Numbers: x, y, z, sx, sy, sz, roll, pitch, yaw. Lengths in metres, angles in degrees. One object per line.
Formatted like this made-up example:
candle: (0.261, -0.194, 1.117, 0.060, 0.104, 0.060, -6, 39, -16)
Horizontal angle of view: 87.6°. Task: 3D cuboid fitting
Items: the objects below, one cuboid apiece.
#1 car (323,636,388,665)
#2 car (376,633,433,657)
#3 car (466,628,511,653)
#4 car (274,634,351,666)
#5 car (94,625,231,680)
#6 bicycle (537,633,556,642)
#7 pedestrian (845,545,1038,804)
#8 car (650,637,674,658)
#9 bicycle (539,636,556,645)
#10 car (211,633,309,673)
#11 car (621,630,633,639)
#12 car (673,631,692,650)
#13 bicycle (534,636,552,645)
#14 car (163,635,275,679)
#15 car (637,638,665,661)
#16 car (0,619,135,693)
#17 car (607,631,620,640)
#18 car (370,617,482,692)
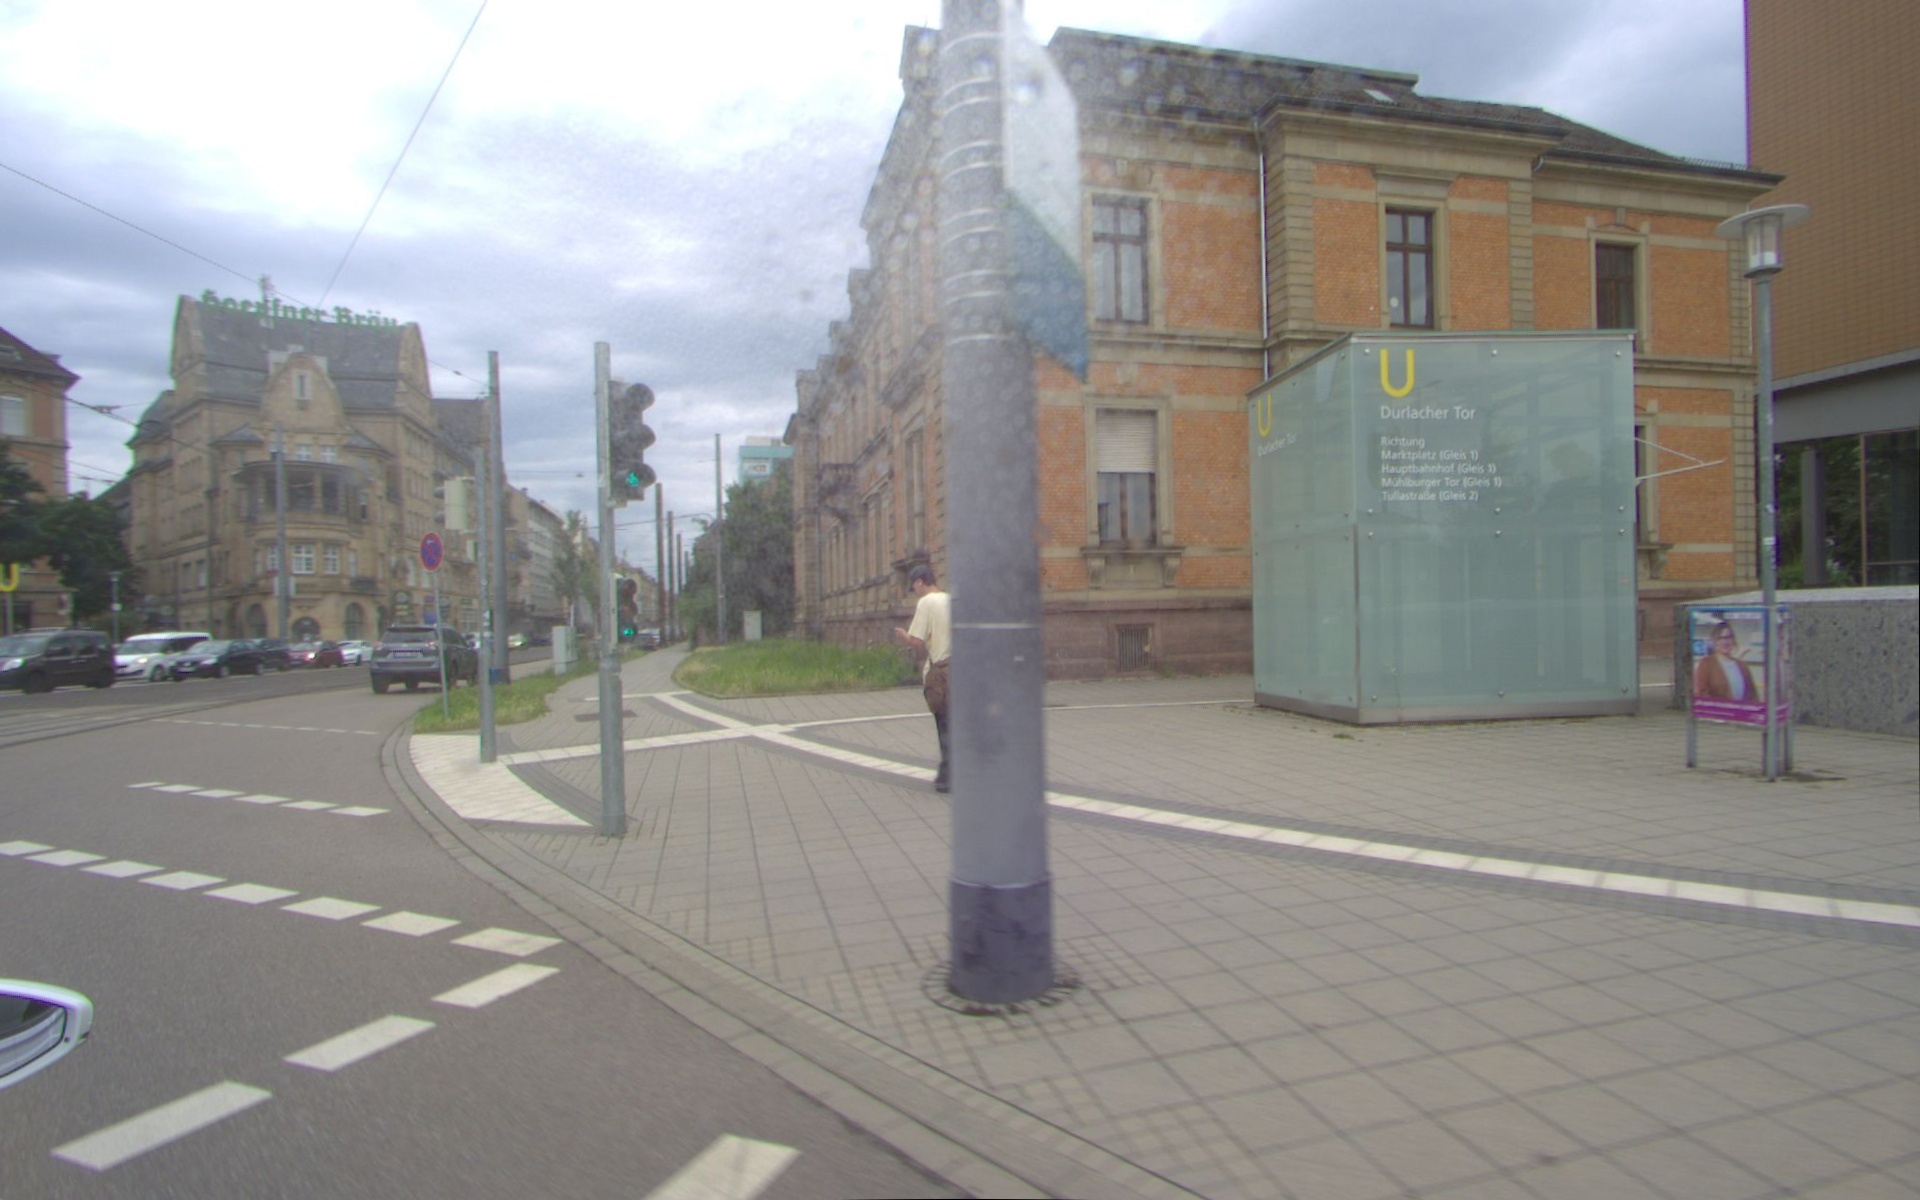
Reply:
car: (-33.561, 2.751, 55.711, 1.720, 1.397, 4.359, -4, -1, -13)
car: (-34.939, 2.795, 63.129, 1.896, 1.397, 4.256, -1, -1, -11)
car: (-34.299, 2.913, 72.995, 1.834, 1.728, 4.905, -2, -1, -12)
car: (-32.471, 2.471, 50.313, 1.834, 1.417, 3.893, -3, -1, -10)
car: (-30.636, 1.969, 38.679, 1.833, 1.941, 5.099, -1, -1, -9)
bicycle: (-51.138, 4.641, 123.859, 2.200, 1.141, 0.503, -1, -1, -21)
pedestrian: (-0.159, 0.566, 8.082, 1.272, 1.892, 0.880, -2, -1, 41)
car: (-25.841, 4.094, 87.034, 1.728, 1.595, 3.926, -3, -1, -14)
bicycle: (-50.392, 4.907, 122.420, 1.939, 1.014, 0.462, -1, -1, -21)
car: (-31.315, 2.333, 44.933, 1.833, 1.554, 4.301, -3, -1, -9)
car: (-64.336, 6.615, 193.491, 1.732, 1.693, 4.610, -1, -1, -13)
car: (-32.693, 4.749, 118.039, 1.823, 2.142, 4.979, -4, -1, -14)
bicycle: (-49.192, 4.757, 118.184, 1.895, 1.014, 0.462, -1, -1, -21)
car: (-26.945, 2.020, 36.569, 1.662, 1.460, 3.999, -1, -1, -10)
car: (-21.953, 3.478, 71.131, 1.613, 1.452, 3.926, -3, -1, -14)
car: (-25.641, 1.530, 28.249, 1.662, 1.924, 4.385, -1, -1, -10)
car: (-59.901, 6.080, 173.148, 1.732, 1.468, 4.610, -1, -1, -13)
car: (-13.790, 1.367, 26.072, 1.724, 1.778, 3.918, 0, -1, -15)
